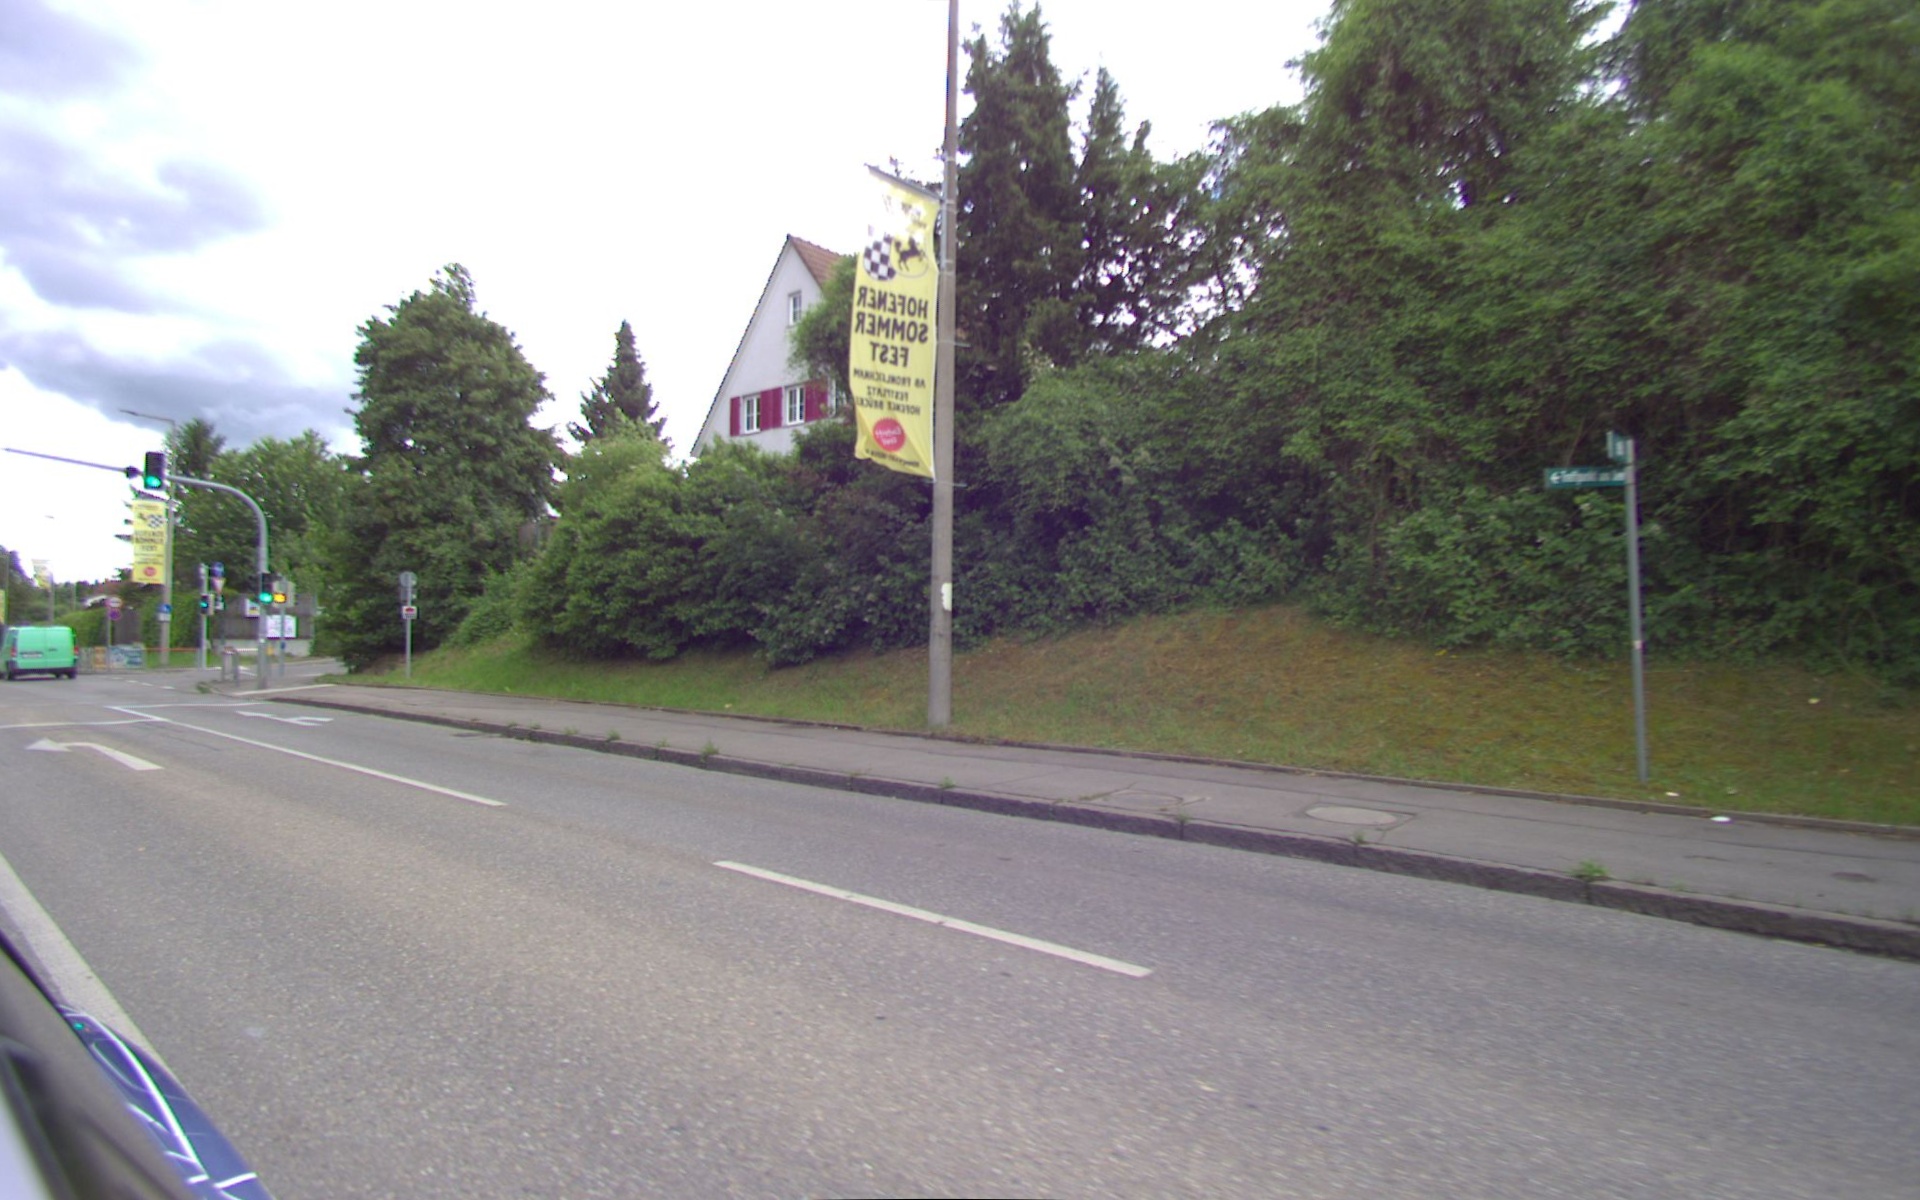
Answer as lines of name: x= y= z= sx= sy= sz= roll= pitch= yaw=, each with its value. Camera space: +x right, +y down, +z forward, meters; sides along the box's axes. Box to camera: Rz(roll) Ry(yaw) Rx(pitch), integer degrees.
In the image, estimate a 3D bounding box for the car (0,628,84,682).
car: x=-33.139 y=1.943 z=36.246 sx=4.727 sy=1.824 sz=2.037 roll=-2 pitch=-3 yaw=41
